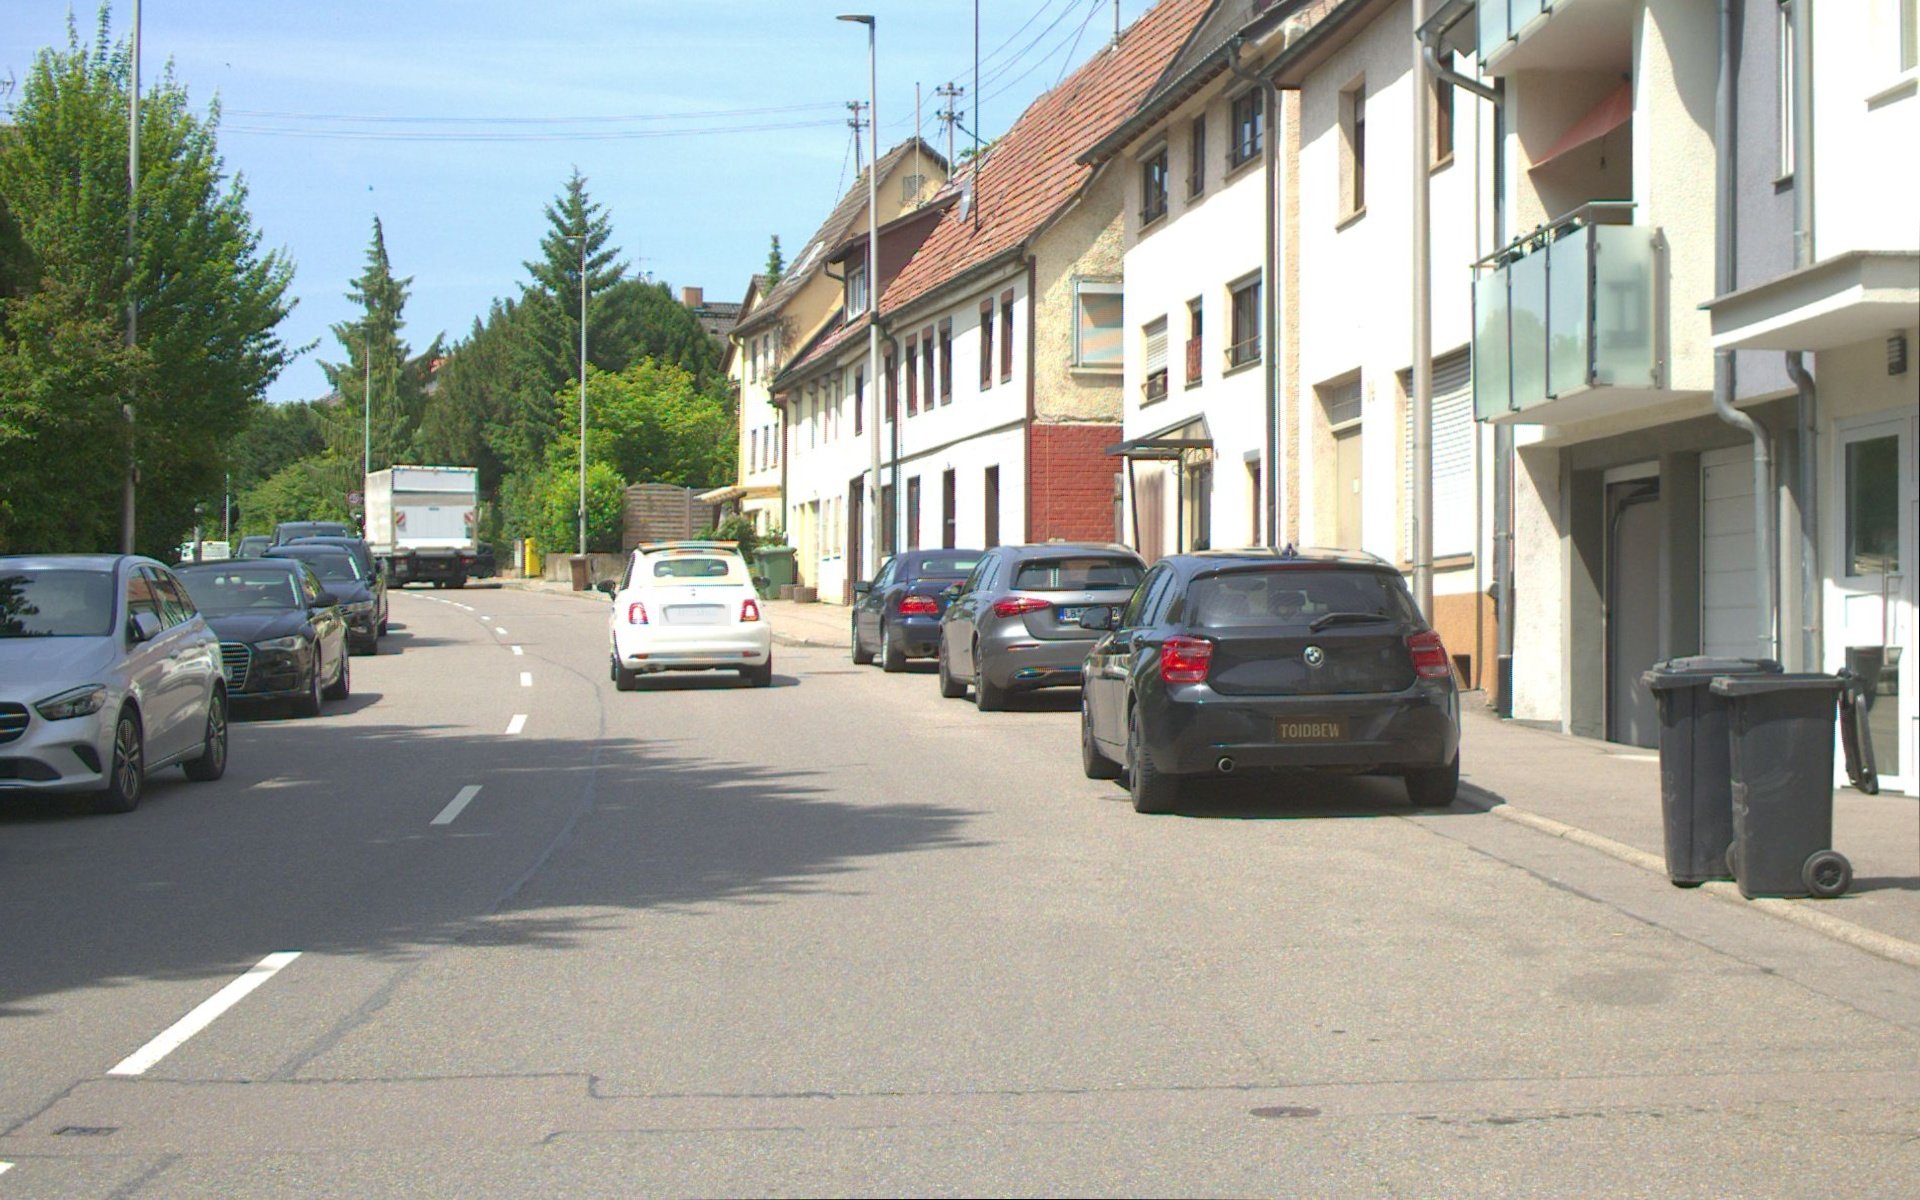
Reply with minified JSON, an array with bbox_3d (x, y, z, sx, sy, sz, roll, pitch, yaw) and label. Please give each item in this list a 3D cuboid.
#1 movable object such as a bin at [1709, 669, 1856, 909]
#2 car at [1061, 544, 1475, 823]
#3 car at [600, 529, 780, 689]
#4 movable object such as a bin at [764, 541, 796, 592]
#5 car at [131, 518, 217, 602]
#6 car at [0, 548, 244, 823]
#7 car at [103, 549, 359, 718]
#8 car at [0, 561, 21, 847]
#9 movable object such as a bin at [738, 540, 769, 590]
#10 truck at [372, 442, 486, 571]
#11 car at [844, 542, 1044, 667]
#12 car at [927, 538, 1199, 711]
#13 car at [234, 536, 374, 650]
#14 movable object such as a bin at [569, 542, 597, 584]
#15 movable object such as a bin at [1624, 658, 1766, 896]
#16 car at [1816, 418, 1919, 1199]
[{"bbox_3d":[3.313,0.754,13.860,0.431,0.921,0.491,-2,1,-4],"label":"movable object such as a bin"},{"bbox_3d":[1.668,0.409,20.037,1.797,1.420,4.291,-1,1,-3],"label":"car"},{"bbox_3d":[-2.943,0.058,36.820,1.724,1.555,4.001,-2,1,-7],"label":"car"},{"bbox_3d":[-3.742,-0.695,71.265,0.546,1.030,0.552,-3,2,-11],"label":"movable object such as a bin"},{"bbox_3d":[-19.119,-0.970,83.550,1.890,1.931,4.988,-1,1,-14],"label":"car"},{"bbox_3d":[-5.802,0.469,21.561,1.772,1.522,4.222,-2,1,-1],"label":"car"},{"bbox_3d":[-6.943,0.261,33.175,1.804,1.419,4.929,-1,2,-5],"label":"car"},{"bbox_3d":[-5.735,0.591,15.831,1.754,1.462,4.363,-2,1,-2],"label":"car"},{"bbox_3d":[-4.385,-0.753,73.135,0.546,1.030,0.552,-3,2,-11],"label":"movable object such as a bin"},{"bbox_3d":[-16.364,-2.808,105.567,3.067,3.761,7.870,-1,0,-12],"label":"truck"},{"bbox_3d":[-0.238,0.017,39.680,1.665,1.348,4.188,0,1,-9],"label":"car"},{"bbox_3d":[0.846,0.161,30.999,1.793,1.398,4.413,-1,1,-7],"label":"car"},{"bbox_3d":[-8.998,-0.137,47.406,1.788,1.458,4.713,-1,1,-10],"label":"car"},{"bbox_3d":[-9.694,-0.949,88.413,0.494,1.030,0.548,-3,2,10],"label":"movable object such as a bin"},{"bbox_3d":[3.111,0.741,14.570,0.431,0.953,0.517,-2,1,-4],"label":"movable object such as a bin"},{"bbox_3d":[2.662,0.590,3.850,1.953,1.710,4.717,0,1,-4],"label":"car"}]
